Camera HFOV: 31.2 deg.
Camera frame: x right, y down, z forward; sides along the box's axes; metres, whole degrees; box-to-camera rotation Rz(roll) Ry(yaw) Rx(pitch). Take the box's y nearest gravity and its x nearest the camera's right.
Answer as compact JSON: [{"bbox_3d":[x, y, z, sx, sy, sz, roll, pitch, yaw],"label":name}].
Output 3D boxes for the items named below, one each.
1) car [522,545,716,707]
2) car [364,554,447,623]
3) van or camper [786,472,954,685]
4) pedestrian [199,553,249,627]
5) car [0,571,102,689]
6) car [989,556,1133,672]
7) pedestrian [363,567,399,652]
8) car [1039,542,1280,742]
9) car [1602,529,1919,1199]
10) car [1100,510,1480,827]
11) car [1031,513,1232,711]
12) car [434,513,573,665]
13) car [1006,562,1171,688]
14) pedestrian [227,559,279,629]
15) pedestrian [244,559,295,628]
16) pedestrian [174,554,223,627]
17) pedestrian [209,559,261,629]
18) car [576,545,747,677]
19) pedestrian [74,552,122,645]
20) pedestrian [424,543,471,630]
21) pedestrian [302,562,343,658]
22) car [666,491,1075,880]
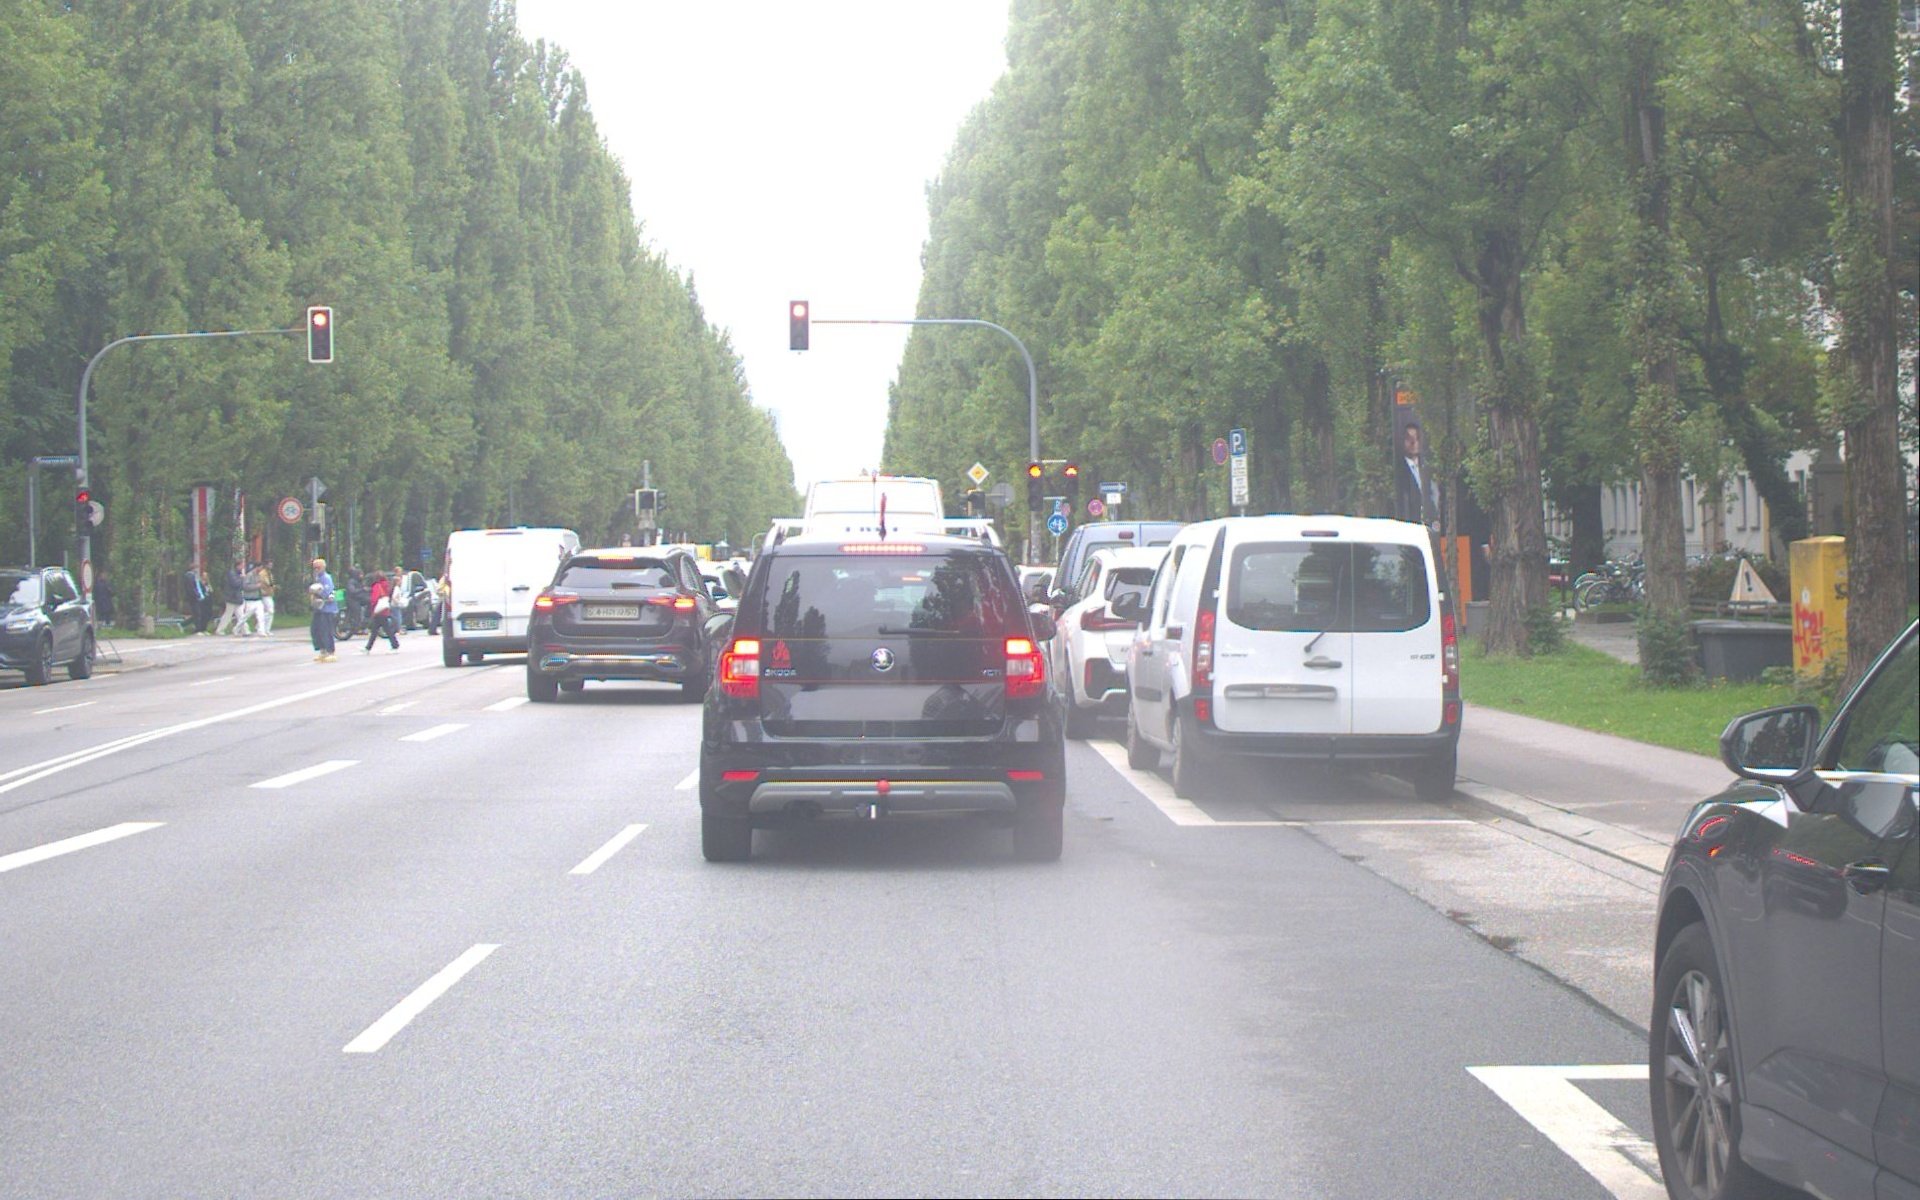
[{"bbox_3d":[-3.649,0.237,37.343,1.781,1.614,4.025,1,1,-2],"label":"car"},{"bbox_3d":[-14.827,-0.322,92.073,1.688,1.777,3.775,-1,1,-1],"label":"car"},{"bbox_3d":[-1.192,-0.297,43.552,1.975,2.540,4.025,-1,1,-3],"label":"van or camper"},{"bbox_3d":[-17.804,-0.245,83.171,0.880,1.758,0.878,-1,1,8],"label":"pedestrian"},{"bbox_3d":[-14.335,0.447,51.769,1.849,1.648,4.696,-3,1,-4],"label":"car"},{"bbox_3d":[1.340,0.160,46.666,1.735,1.470,3.563,-1,1,-1],"label":"car"},{"bbox_3d":[-10.228,0.163,60.731,0.517,1.480,0.536,-1,1,-1],"label":"pedestrian"},{"bbox_3d":[1.669,0.304,30.017,1.741,1.587,4.212,-1,1,-1],"label":"car"},{"bbox_3d":[2.486,0.643,5.835,1.880,1.535,4.464,-1,1,-1],"label":"car"},{"bbox_3d":[2.076,0.372,22.784,1.851,1.875,4.169,-1,1,-3],"label":"car"},{"bbox_3d":[1.702,0.075,35.290,1.735,1.889,4.025,-1,1,-1],"label":"car"},{"bbox_3d":[-6.634,-0.179,50.279,1.781,2.104,4.025,-1,1,-4],"label":"car"},{"bbox_3d":[1.499,0.265,41.162,1.735,1.382,3.563,-1,1,-1],"label":"car"},{"bbox_3d":[-16.768,-0.147,81.533,0.880,1.649,0.878,-2,1,-39],"label":"pedestrian"},{"bbox_3d":[-16.719,-0.155,83.196,0.880,1.649,0.878,-2,1,-39],"label":"pedestrian"},{"bbox_3d":[-18.591,-0.230,83.952,0.880,1.758,0.878,-1,1,8],"label":"pedestrian"},{"bbox_3d":[-17.341,-0.153,82.227,0.880,1.649,0.878,-2,1,-39],"label":"pedestrian"},{"bbox_3d":[-3.816,0.102,44.514,1.993,1.555,4.001,-1,1,-2],"label":"car"},{"bbox_3d":[-14.655,-0.029,58.462,0.660,1.572,0.530,-1,1,-1],"label":"pedestrian"},{"bbox_3d":[-12.008,-0.332,80.542,0.885,2.007,1.013,-1,1,2],"label":"pedestrian"},{"bbox_3d":[-10.635,0.162,57.327,0.528,1.572,0.662,-1,1,-1],"label":"pedestrian"},{"bbox_3d":[-0.455,0.366,17.887,1.855,1.764,4.000,1,1,-1],"label":"car"}]
